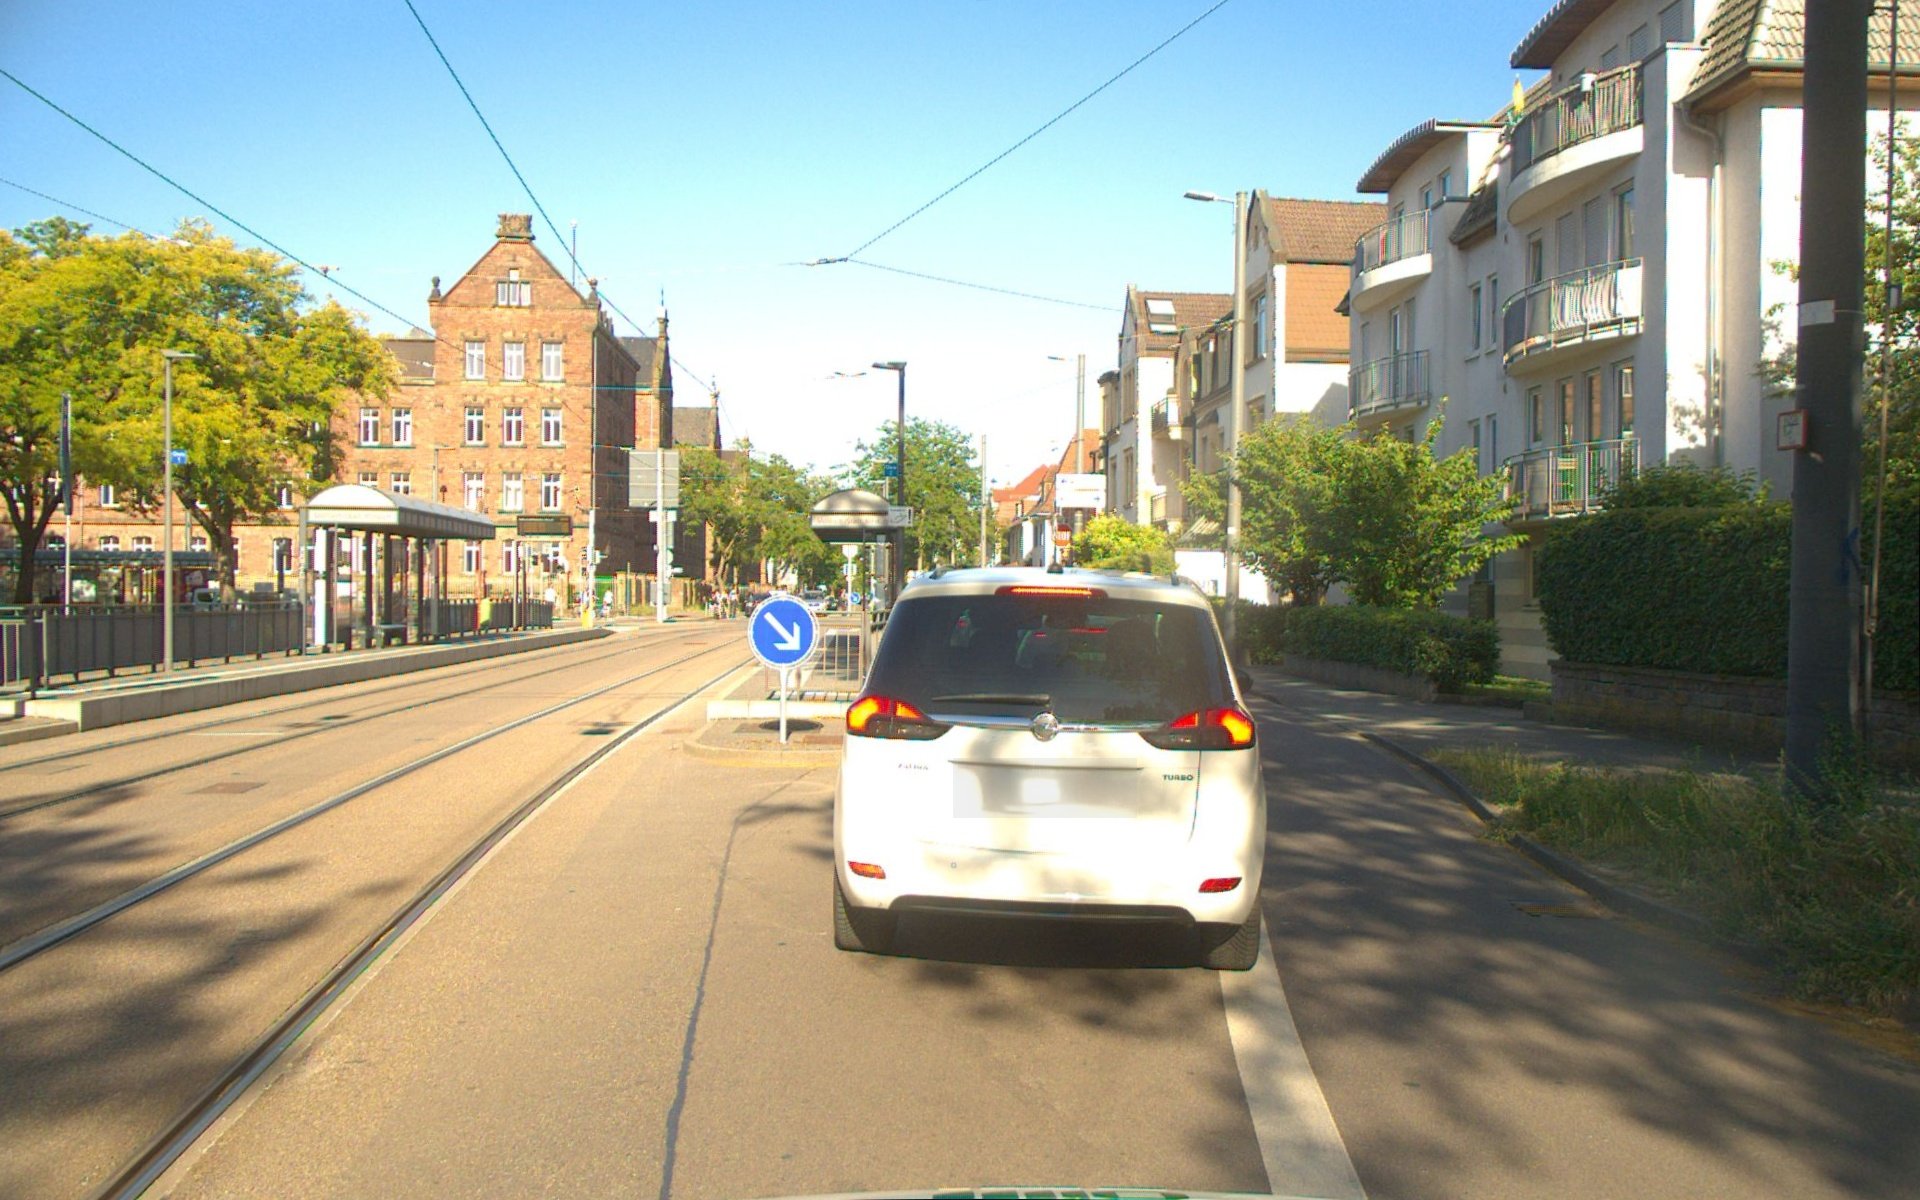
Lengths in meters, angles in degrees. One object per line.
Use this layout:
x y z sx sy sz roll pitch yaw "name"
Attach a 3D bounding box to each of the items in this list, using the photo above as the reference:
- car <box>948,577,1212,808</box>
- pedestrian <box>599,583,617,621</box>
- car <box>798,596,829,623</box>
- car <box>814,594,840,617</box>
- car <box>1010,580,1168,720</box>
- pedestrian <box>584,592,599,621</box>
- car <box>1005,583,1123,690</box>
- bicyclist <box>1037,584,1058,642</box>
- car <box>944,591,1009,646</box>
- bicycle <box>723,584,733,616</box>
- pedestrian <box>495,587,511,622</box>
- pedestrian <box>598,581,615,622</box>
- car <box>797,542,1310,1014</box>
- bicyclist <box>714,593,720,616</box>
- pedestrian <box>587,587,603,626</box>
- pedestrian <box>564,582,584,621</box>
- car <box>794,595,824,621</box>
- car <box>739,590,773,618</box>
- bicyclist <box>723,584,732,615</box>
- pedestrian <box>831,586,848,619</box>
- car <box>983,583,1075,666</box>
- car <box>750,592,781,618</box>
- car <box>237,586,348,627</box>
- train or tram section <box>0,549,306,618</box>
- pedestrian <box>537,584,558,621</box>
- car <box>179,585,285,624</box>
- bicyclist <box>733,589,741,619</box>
1.066 0.645 13.767 1.866 1.625 4.003 0 0 6 "car"
-18.955 0.114 89.093 0.783 2.049 0.716 1 -1 -22 "pedestrian"
-9.461 0.611 107.194 1.711 1.746 3.999 1 0 -1 "car"
-10.367 0.431 128.891 1.711 1.746 3.999 1 0 -1 "car"
1.746 0.582 21.618 1.866 1.653 4.003 0 0 6 "car"
-21.148 0.363 94.954 0.640 1.640 0.711 1 -1 1 "pedestrian"
1.785 0.573 28.279 1.867 1.690 4.002 0 0 4 "car"
2.626 0.387 49.415 0.603 1.716 0.779 0 0 3 "bicyclist"
0.497 0.549 53.075 1.869 1.690 3.998 0 0 -2 "car"
-15.312 -0.009 108.994 0.477 2.049 1.405 0 0 -1 "bicycle"
-23.874 0.244 86.380 0.754 1.805 0.717 1 -1 -18 "pedestrian"
-18.090 0.083 84.683 0.782 2.049 0.717 1 -1 -18 "pedestrian"
0.550 0.629 8.036 1.866 1.690 4.003 0 0 6 "car"
-15.118 0.283 102.965 0.307 1.469 0.384 0 0 -1 "bicyclist"
-19.440 0.369 88.056 0.781 2.049 1.042 1 -1 -15 "pedestrian"
-20.574 0.082 88.115 0.788 2.049 0.712 1 -1 -34 "pedestrian"
-10.479 0.587 115.035 1.711 1.746 3.999 1 0 -1 "car"
-13.169 0.289 106.825 1.711 1.746 3.999 1 0 -1 "car"
-15.311 -0.009 108.991 0.488 2.049 0.572 0 0 -1 "bicyclist"
-7.221 0.143 99.086 0.731 1.934 0.805 1 -1 -23 "pedestrian"
1.442 0.499 36.112 1.868 1.690 4.000 0 0 0 "car"
-13.316 0.348 113.490 1.711 1.746 3.999 1 0 -1 "car"
-28.122 0.265 69.736 3.908 1.658 1.817 1 0 -4 "car"
-40.756 -0.763 79.411 17.048 3.210 3.343 0 0 -6 "train or tram section"
-22.108 0.138 88.693 0.791 1.934 0.744 1 -1 13 "pedestrian"
-32.453 0.218 73.809 3.908 1.658 1.817 1 0 -4 "car"
-15.029 0.258 111.360 0.478 2.049 0.502 1 -1 -1 "bicyclist"
